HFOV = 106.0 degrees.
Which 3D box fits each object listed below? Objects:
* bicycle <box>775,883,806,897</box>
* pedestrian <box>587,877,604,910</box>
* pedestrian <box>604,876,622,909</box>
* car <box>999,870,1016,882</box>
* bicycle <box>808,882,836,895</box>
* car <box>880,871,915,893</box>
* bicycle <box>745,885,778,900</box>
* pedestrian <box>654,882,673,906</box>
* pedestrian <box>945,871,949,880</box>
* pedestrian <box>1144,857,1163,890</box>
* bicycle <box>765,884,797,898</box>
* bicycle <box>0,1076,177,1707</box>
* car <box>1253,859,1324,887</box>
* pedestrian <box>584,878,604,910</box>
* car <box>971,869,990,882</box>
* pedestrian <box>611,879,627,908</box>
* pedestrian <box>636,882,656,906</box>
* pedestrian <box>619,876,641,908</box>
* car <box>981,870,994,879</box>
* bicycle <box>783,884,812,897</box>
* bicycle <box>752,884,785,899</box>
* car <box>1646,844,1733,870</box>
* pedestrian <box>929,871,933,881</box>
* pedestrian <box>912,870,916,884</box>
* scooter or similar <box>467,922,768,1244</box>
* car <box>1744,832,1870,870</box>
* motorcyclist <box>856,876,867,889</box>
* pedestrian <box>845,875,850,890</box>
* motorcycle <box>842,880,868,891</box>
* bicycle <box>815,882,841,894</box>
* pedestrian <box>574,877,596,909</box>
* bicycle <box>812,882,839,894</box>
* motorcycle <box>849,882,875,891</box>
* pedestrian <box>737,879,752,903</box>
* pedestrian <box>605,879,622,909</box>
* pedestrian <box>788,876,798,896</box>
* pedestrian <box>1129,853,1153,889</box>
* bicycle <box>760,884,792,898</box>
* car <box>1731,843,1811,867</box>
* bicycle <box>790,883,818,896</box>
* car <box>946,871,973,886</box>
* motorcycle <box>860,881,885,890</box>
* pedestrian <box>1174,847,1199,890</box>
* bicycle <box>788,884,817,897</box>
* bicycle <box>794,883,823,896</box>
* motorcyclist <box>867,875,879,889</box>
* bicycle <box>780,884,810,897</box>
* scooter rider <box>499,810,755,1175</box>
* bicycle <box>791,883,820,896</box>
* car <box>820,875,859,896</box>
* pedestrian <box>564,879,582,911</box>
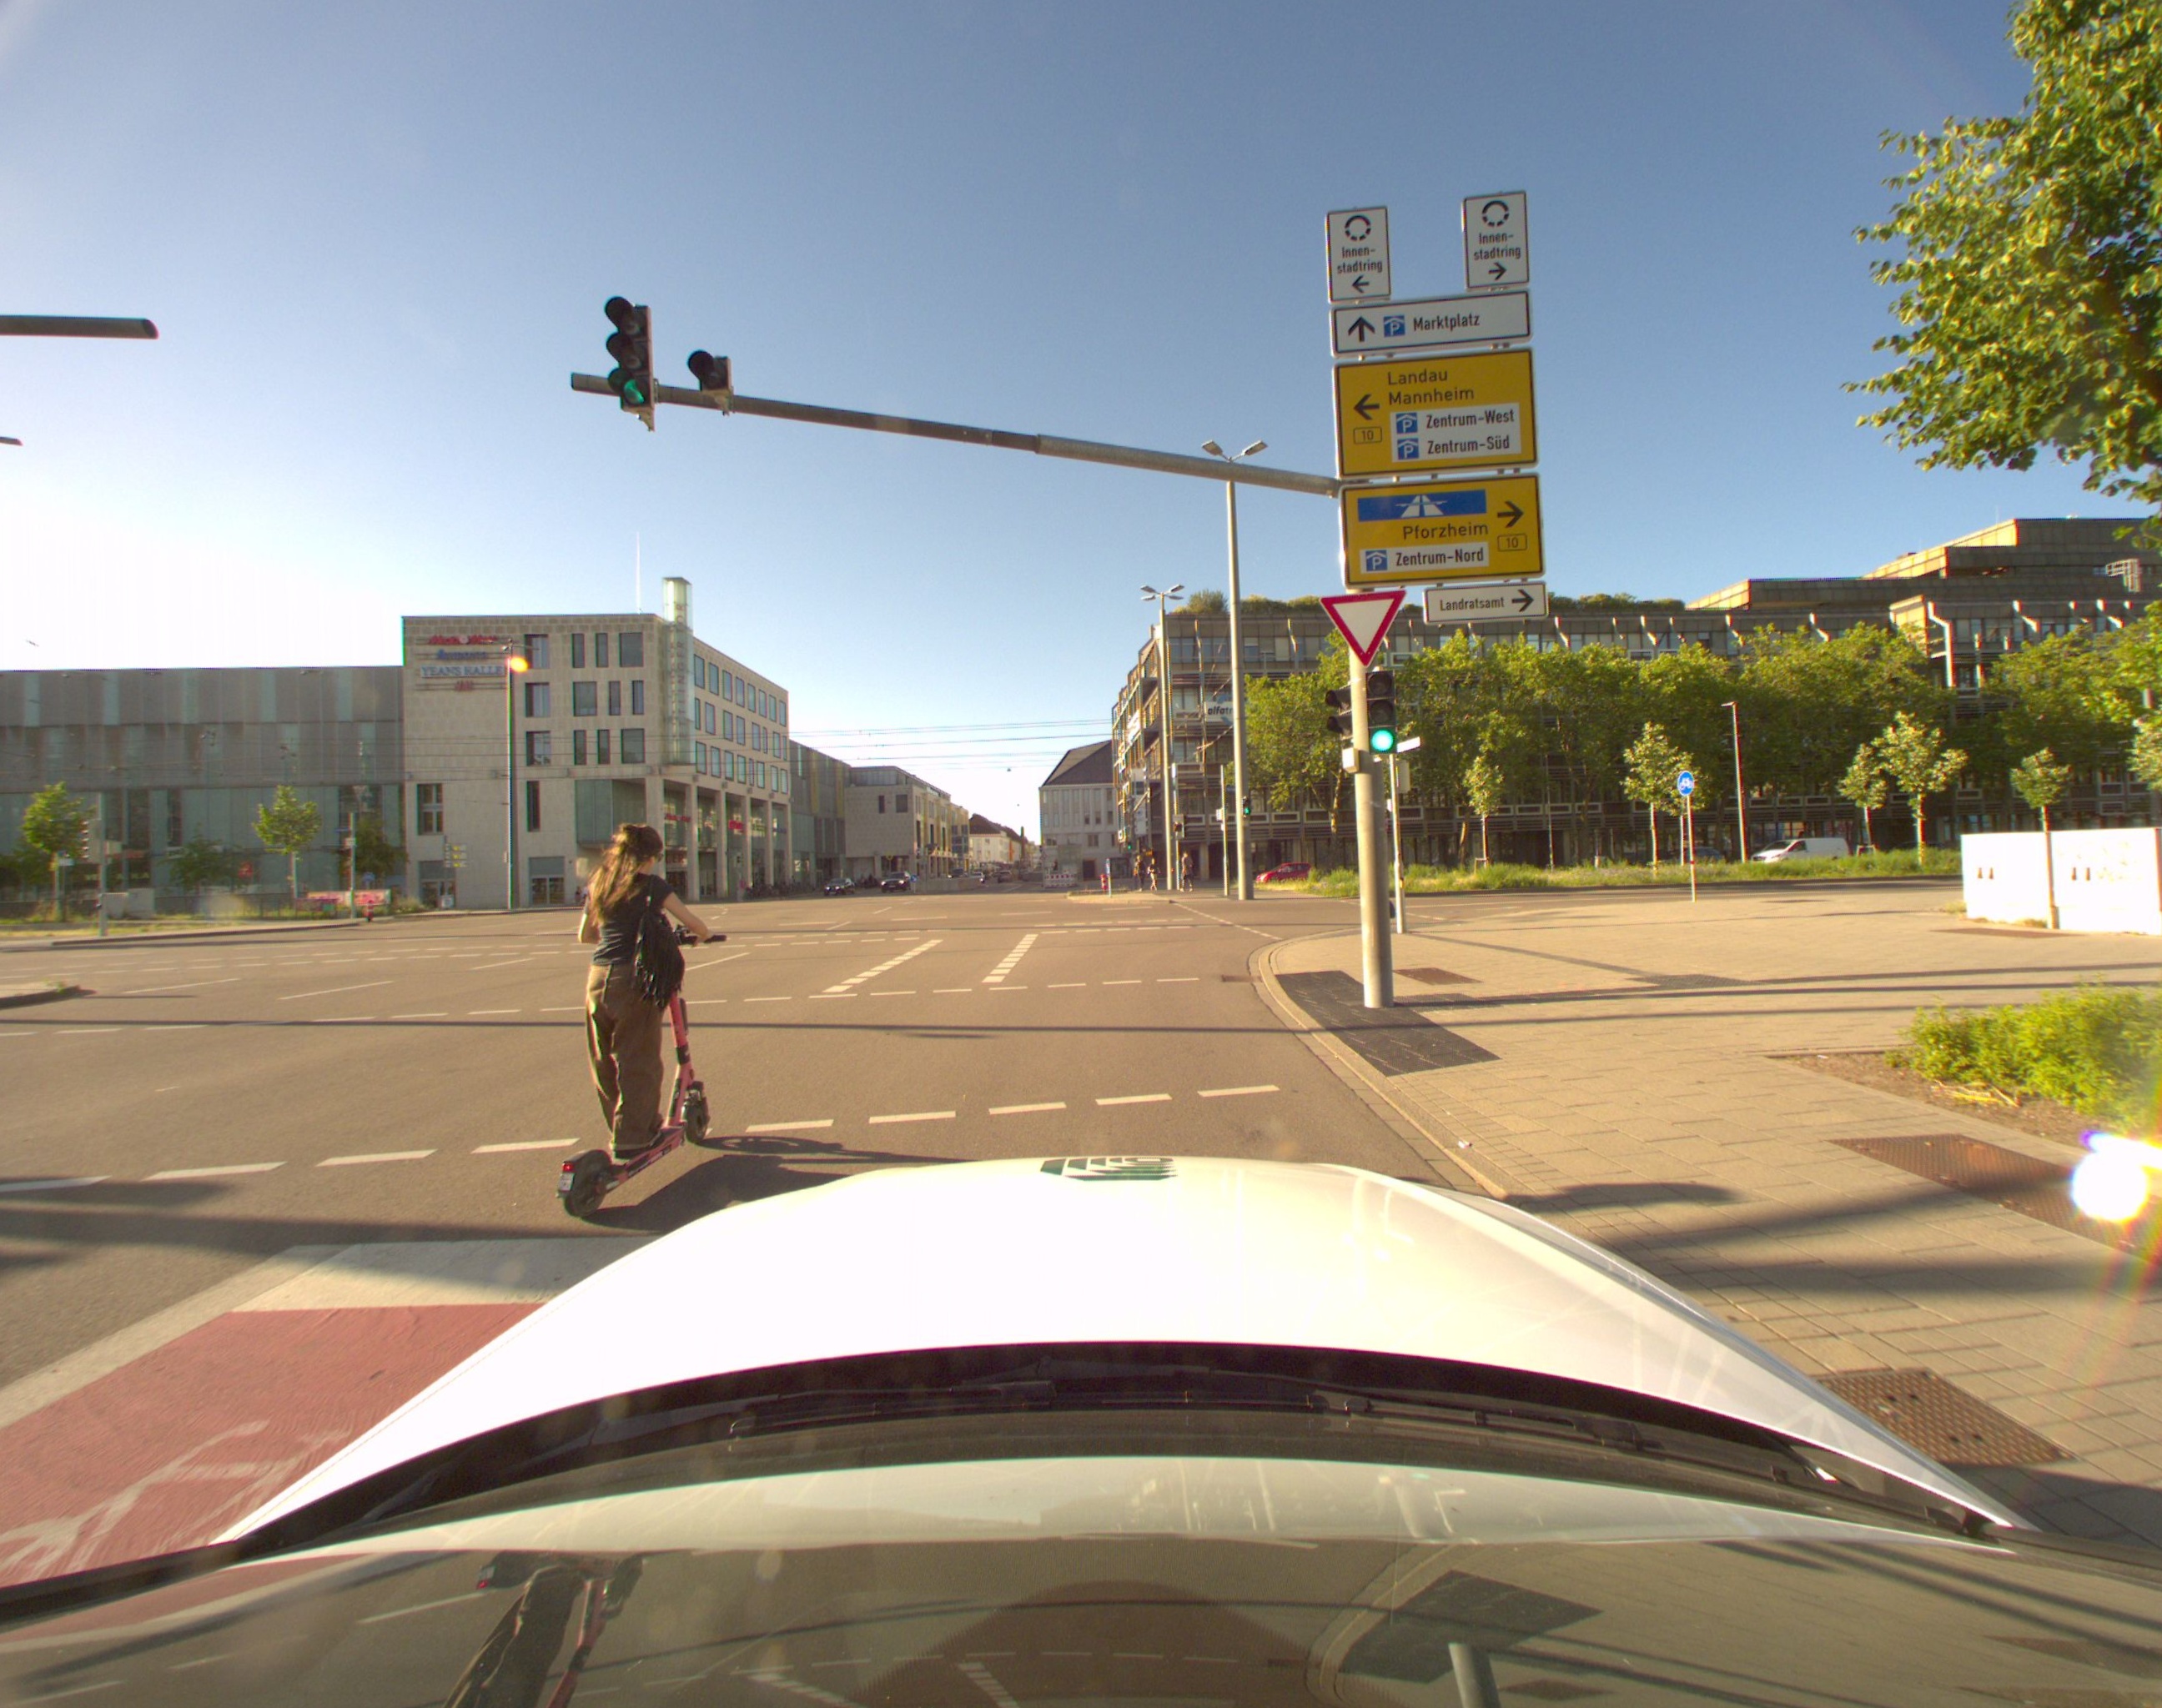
[{"bbox_3d":[-25.558,3.160,71.763,2.457,1.111,0.684,-2,-1,3],"label":"bicycle"},{"bbox_3d":[-32.050,2.592,53.796,0.902,2.124,0.937,-1,-2,-32],"label":"pedestrian"},{"bbox_3d":[-31.400,2.583,54.608,0.902,2.124,0.936,-1,-2,-37],"label":"pedestrian"},{"bbox_3d":[-9.517,2.868,105.716,1.931,1.450,4.259,-2,-2,-1],"label":"car"},{"bbox_3d":[-26.014,3.469,81.815,2.457,1.111,0.835,-2,-1,3],"label":"bicycle"},{"bbox_3d":[-14.890,2.248,66.122,1.932,1.677,4.290,-2,-1,-2],"label":"car"},{"bbox_3d":[-26.055,3.137,66.463,2.393,1.113,0.658,-2,-1,2],"label":"bicycle"},{"bbox_3d":[-28.500,2.741,55.655,0.951,1.571,0.831,-1,-2,-43],"label":"pedestrian"},{"bbox_3d":[-21.401,3.411,130.036,0.487,1.356,0.563,0,-1,-4],"label":"pedestrian"},{"bbox_3d":[4.280,1.132,48.195,1.007,1.911,1.051,-2,-1,3],"label":"pedestrian"},{"bbox_3d":[-25.788,3.161,69.978,2.457,1.111,0.684,-2,-1,3],"label":"bicycle"},{"bbox_3d":[-2.075,0.977,0.658,0.705,1.094,1.798,-2,-1,-2],"label":"bicycle"},{"bbox_3d":[12.810,1.184,50.437,3.855,1.486,1.845,-2,-4,0],"label":"car"},{"bbox_3d":[-33.485,2.731,56.009,0.895,2.124,0.944,-2,-1,-9],"label":"pedestrian"},{"bbox_3d":[-14.242,3.055,115.656,2.168,1.692,5.612,-2,-2,-1],"label":"car"},{"bbox_3d":[-31.955,2.722,56.323,0.920,2.014,1.013,-1,-2,-33],"label":"pedestrian"},{"bbox_3d":[-30.321,2.782,56.740,1.013,1.651,0.937,-1,-2,-42],"label":"pedestrian"},{"bbox_3d":[-30.693,2.583,55.412,1.069,2.129,1.085,-1,-2,-40],"label":"pedestrian"},{"bbox_3d":[-19.454,4.304,169.228,2.168,1.873,5.611,-2,-2,-1],"label":"car"},{"bbox_3d":[-25.755,3.316,73.915,2.457,1.111,0.538,-2,-1,3],"label":"bicycle"},{"bbox_3d":[-26.021,3.146,67.810,2.458,1.111,0.684,-2,-1,2],"label":"bicycle"},{"bbox_3d":[42.421,0.180,56.843,4.847,1.680,1.996,-2,0,-7],"label":"car"},{"bbox_3d":[-22.062,3.223,119.627,0.487,1.356,0.563,0,-1,-4],"label":"pedestrian"},{"bbox_3d":[-23.438,3.216,114.336,0.616,2.014,0.476,0,-1,-12],"label":"pedestrian"},{"bbox_3d":[-2.156,0.984,4.027,0.640,1.175,1.483,-1,-1,0],"label":"scooter or similar"},{"bbox_3d":[43.535,-0.159,48.934,5.679,2.014,2.262,-2,-3,-4],"label":"car"},{"bbox_3d":[-24.890,3.237,92.224,1.034,1.471,0.915,0,-1,-5],"label":"motorcyclist"},{"bbox_3d":[-32.000,3.898,111.434,0.616,2.014,0.476,0,-1,-12],"label":"pedestrian"},{"bbox_3d":[-24.958,3.481,89.873,2.663,1.217,0.915,0,-1,-5],"label":"motorcycle"},{"bbox_3d":[-25.915,3.493,83.394,2.457,1.111,0.661,-2,-1,3],"label":"bicycle"},{"bbox_3d":[-33.311,2.627,54.697,0.892,2.124,0.947,-2,-1,0],"label":"pedestrian"},{"bbox_3d":[-25.931,3.472,82.621,2.457,1.111,0.661,-2,-1,3],"label":"bicycle"},{"bbox_3d":[-24.806,3.635,92.233,2.663,0.996,0.915,0,-1,-5],"label":"motorcycle"},{"bbox_3d":[-24.747,2.717,59.823,0.748,1.740,0.756,-2,-1,0],"label":"pedestrian"},{"bbox_3d":[-33.075,2.827,57.587,0.921,2.014,1.012,-1,-2,-38],"label":"pedestrian"},{"bbox_3d":[-29.119,3.218,82.362,0.949,1.982,1.000,-1,-1,-22],"label":"pedestrian"},{"bbox_3d":[2.634,0.736,35.976,0.894,1.549,0.922,-2,1,-4],"label":"pedestrian"},{"bbox_3d":[-25.918,3.169,69.173,2.456,1.111,0.685,-2,-1,4],"label":"bicycle"},{"bbox_3d":[48.344,0.061,57.106,3.975,1.521,1.999,-2,0,-1],"label":"car"},{"bbox_3d":[-26.222,3.379,77.129,2.457,1.111,0.684,-2,-1,3],"label":"bicycle"},{"bbox_3d":[-14.360,2.885,96.367,2.165,1.692,5.489,-2,-2,2],"label":"car"},{"bbox_3d":[-24.469,3.697,95.673,2.663,0.996,0.915,0,-1,-5],"label":"motorcycle"},{"bbox_3d":[4.499,0.612,34.718,0.854,1.744,0.738,-2,0,-6],"label":"pedestrian"},{"bbox_3d":[-25.762,3.336,75.333,2.457,1.111,0.684,-2,-1,3],"label":"bicycle"},{"bbox_3d":[-26.261,3.403,78.383,2.457,1.111,0.835,-2,-1,3],"label":"bicycle"},{"bbox_3d":[-24.448,3.271,95.697,1.135,1.575,0.915,0,-1,-5],"label":"motorcyclist"},{"bbox_3d":[-25.778,3.306,73.329,2.457,1.111,0.594,-2,-1,3],"label":"bicycle"},{"bbox_3d":[-2.168,0.594,4.042,0.640,1.544,1.117,-1,-1,-1],"label":"scooter rider"},{"bbox_3d":[-25.740,3.350,76.122,2.457,1.111,0.835,-2,-1,3],"label":"bicycle"},{"bbox_3d":[-20.026,2.607,67.720,1.931,1.581,4.294,-2,-1,1],"label":"car"},{"bbox_3d":[-34.606,2.769,55.493,0.900,2.124,0.939,-1,-1,-24],"label":"pedestrian"}]
